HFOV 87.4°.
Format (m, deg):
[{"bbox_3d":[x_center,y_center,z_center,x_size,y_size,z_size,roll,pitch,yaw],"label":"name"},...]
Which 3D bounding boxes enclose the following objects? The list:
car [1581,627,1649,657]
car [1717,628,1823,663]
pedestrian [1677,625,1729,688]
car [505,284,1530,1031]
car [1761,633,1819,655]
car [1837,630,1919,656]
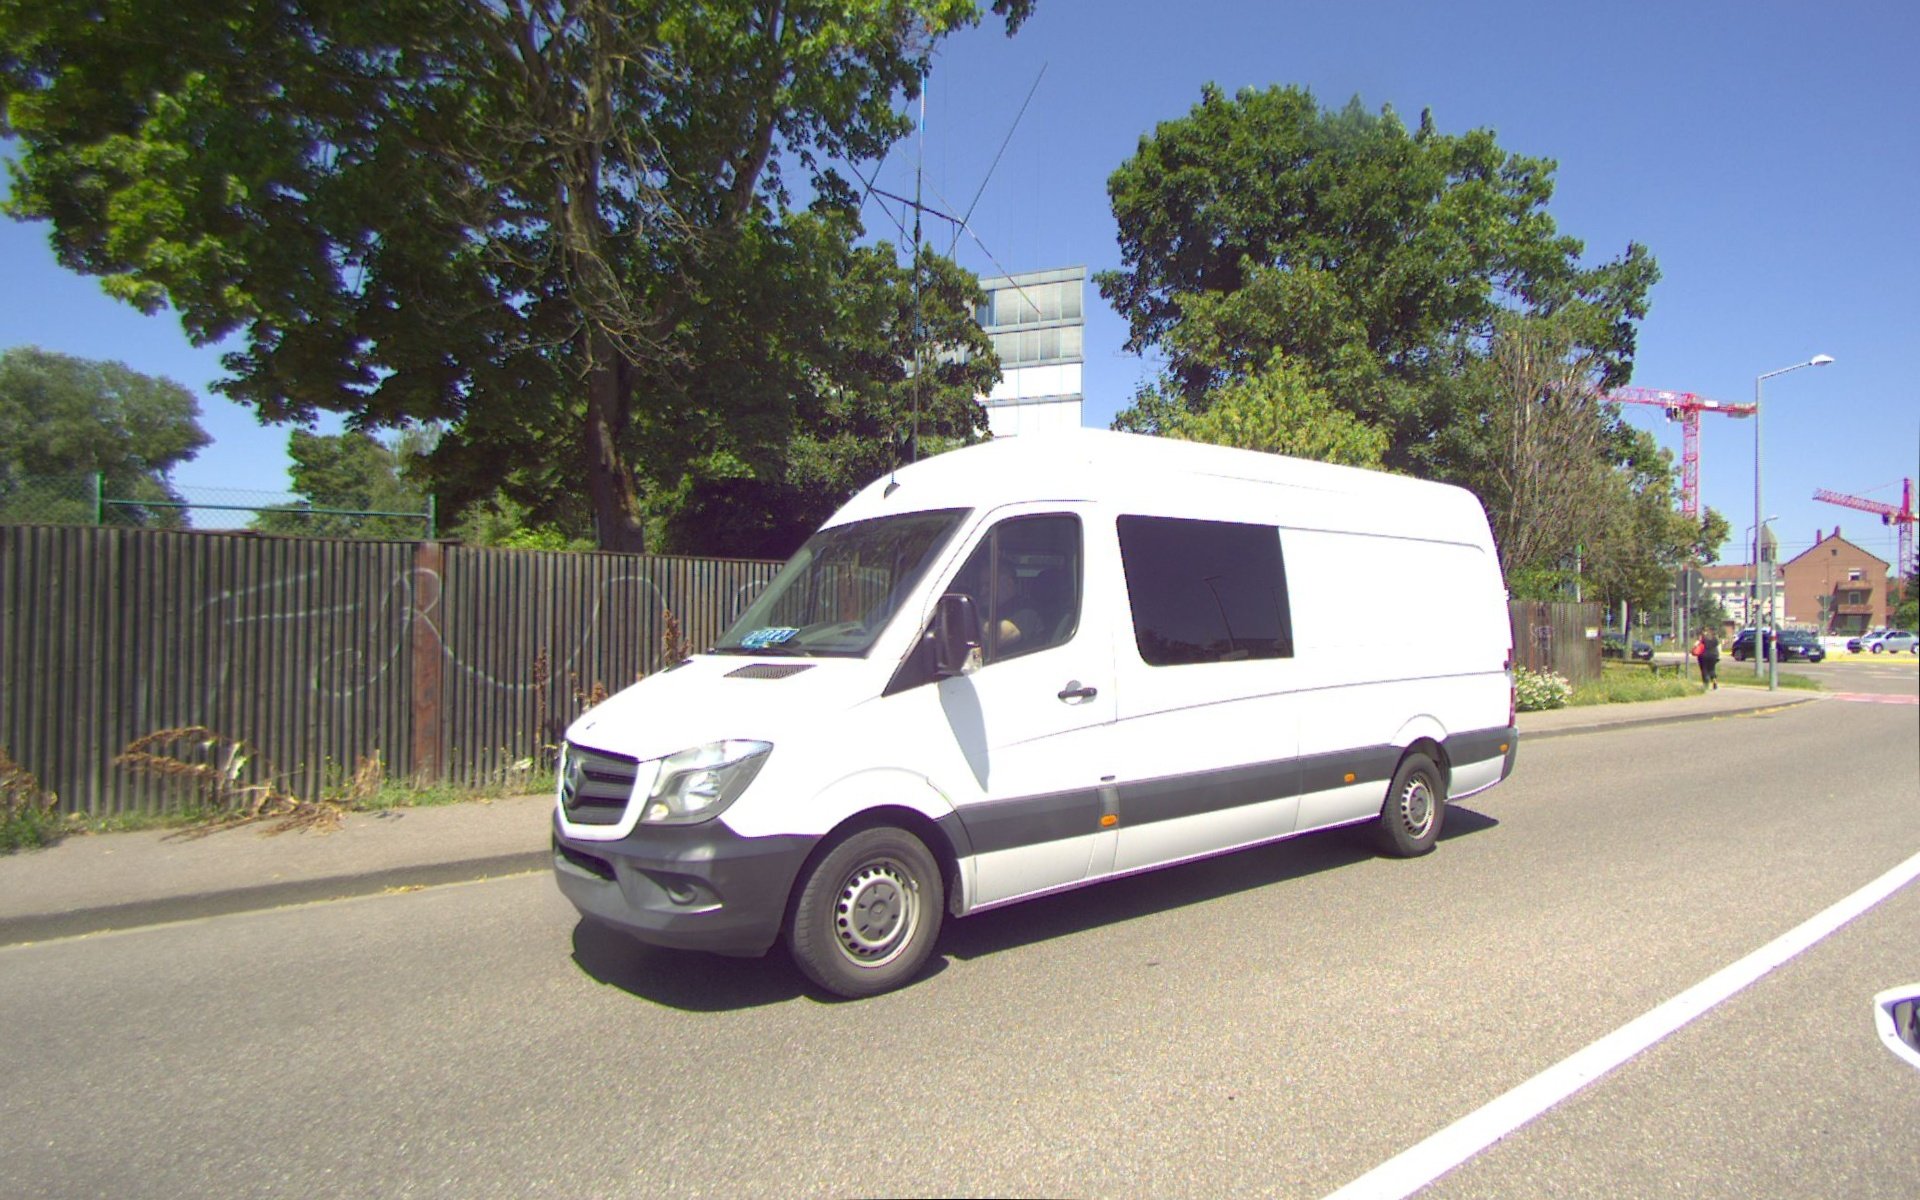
[{"bbox_3d":[34.868,2.214,53.590,1.960,1.461,4.220,1,-1,17],"label":"car"},{"bbox_3d":[38.727,2.148,48.158,1.959,1.461,4.203,1,-1,6],"label":"car"},{"bbox_3d":[19.346,1.446,26.179,0.794,1.584,0.877,1,0,15],"label":"pedestrian"},{"bbox_3d":[0.997,0.293,6.323,6.765,2.572,2.005,2,-2,-37],"label":"car"},{"bbox_3d":[50.611,2.692,61.242,3.747,1.253,1.697,2,-1,-34],"label":"car"},{"bbox_3d":[58.928,2.730,64.229,4.136,1.520,1.713,1,0,3],"label":"car"}]
